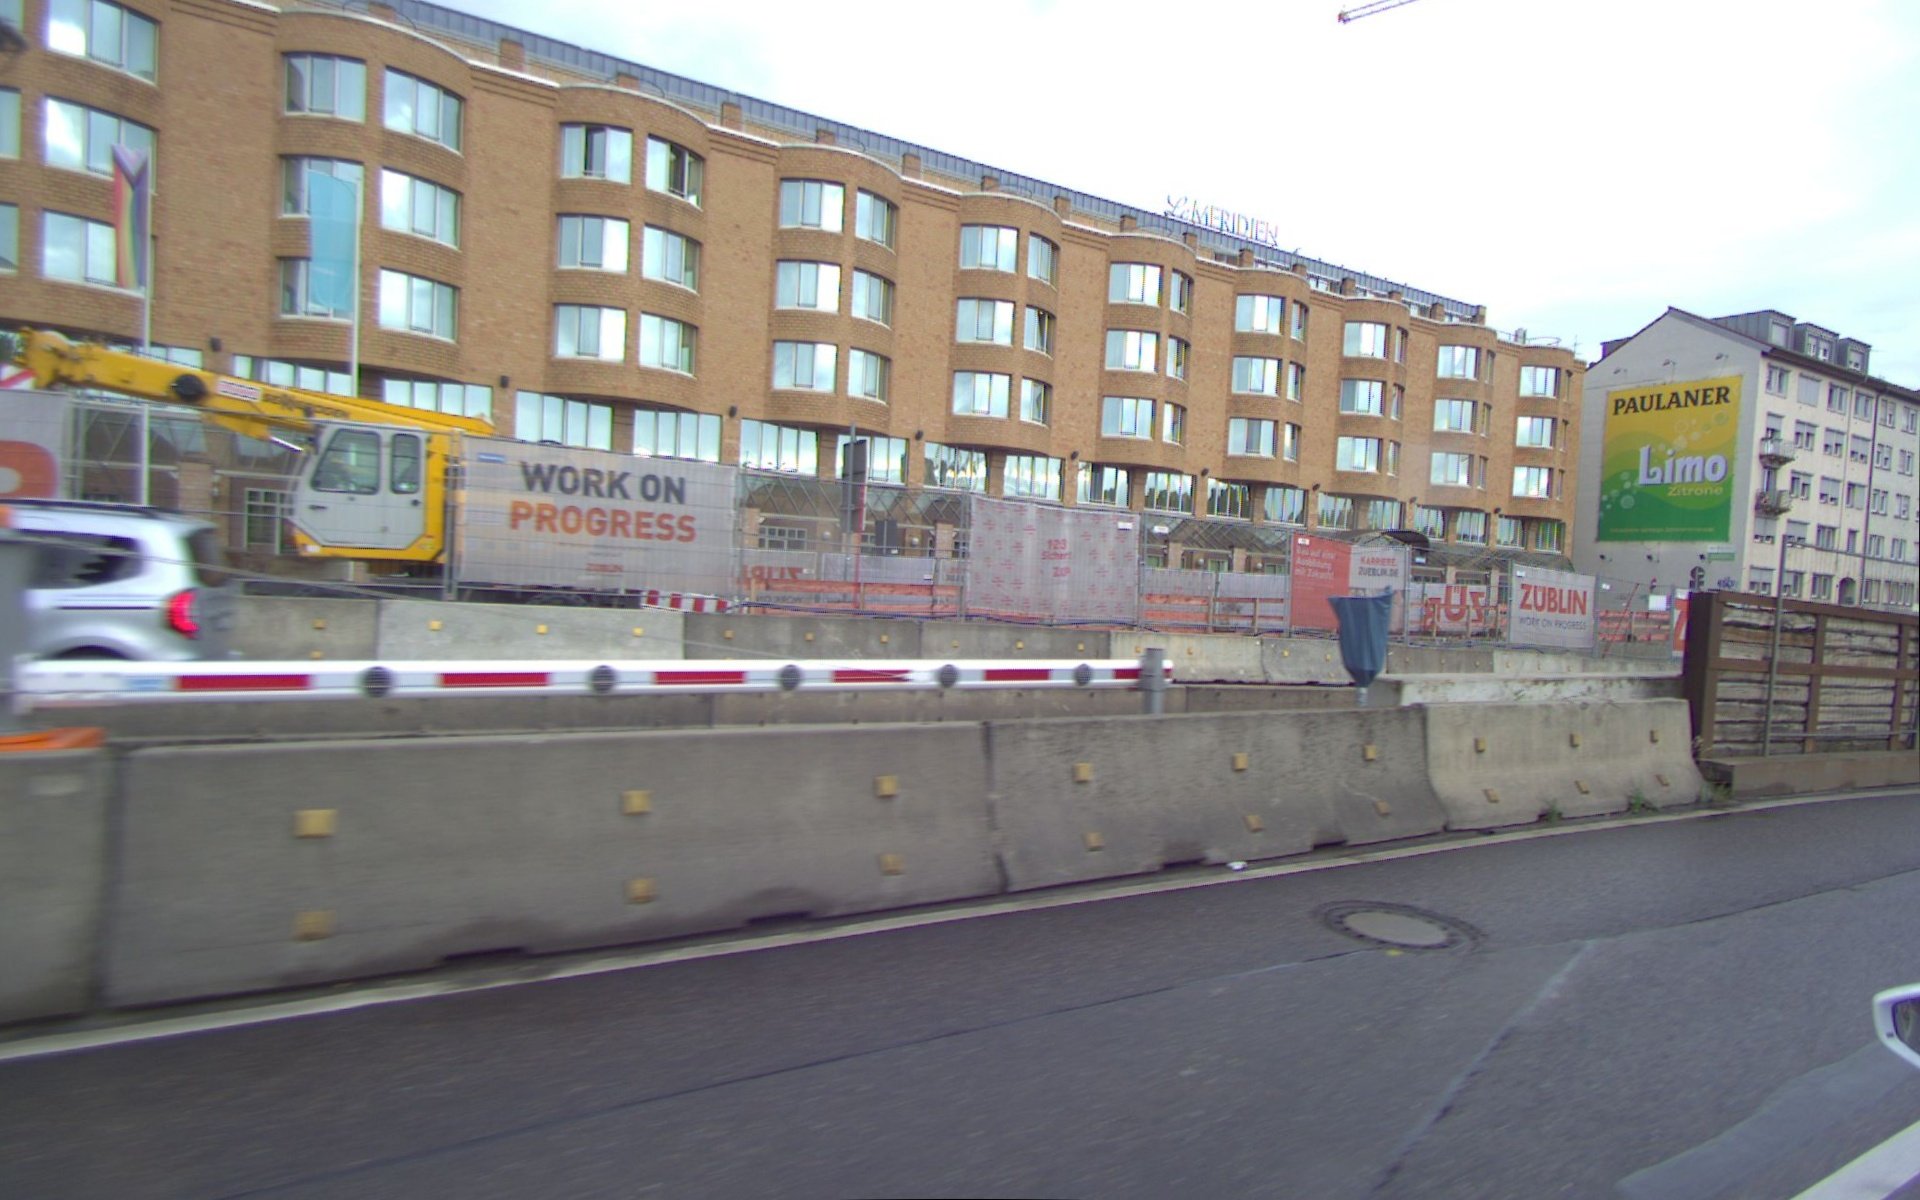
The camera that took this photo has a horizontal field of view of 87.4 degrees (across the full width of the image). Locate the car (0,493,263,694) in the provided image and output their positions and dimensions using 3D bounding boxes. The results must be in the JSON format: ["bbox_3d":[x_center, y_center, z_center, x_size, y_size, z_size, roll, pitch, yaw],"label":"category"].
[{"bbox_3d":[-8.577,-0.095,8.250,4.467,1.570,1.740,1,1,-28],"label":"car"}]

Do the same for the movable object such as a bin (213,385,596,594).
[{"bbox_3d":[-7.394,-1.304,13.713,4.244,2.307,2.016,1,-1,-31],"label":"movable object such as a bin"}]

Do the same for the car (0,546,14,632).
[{"bbox_3d":[-20.888,-0.275,18.989,3.953,1.715,1.984,2,-1,-30],"label":"car"}]
